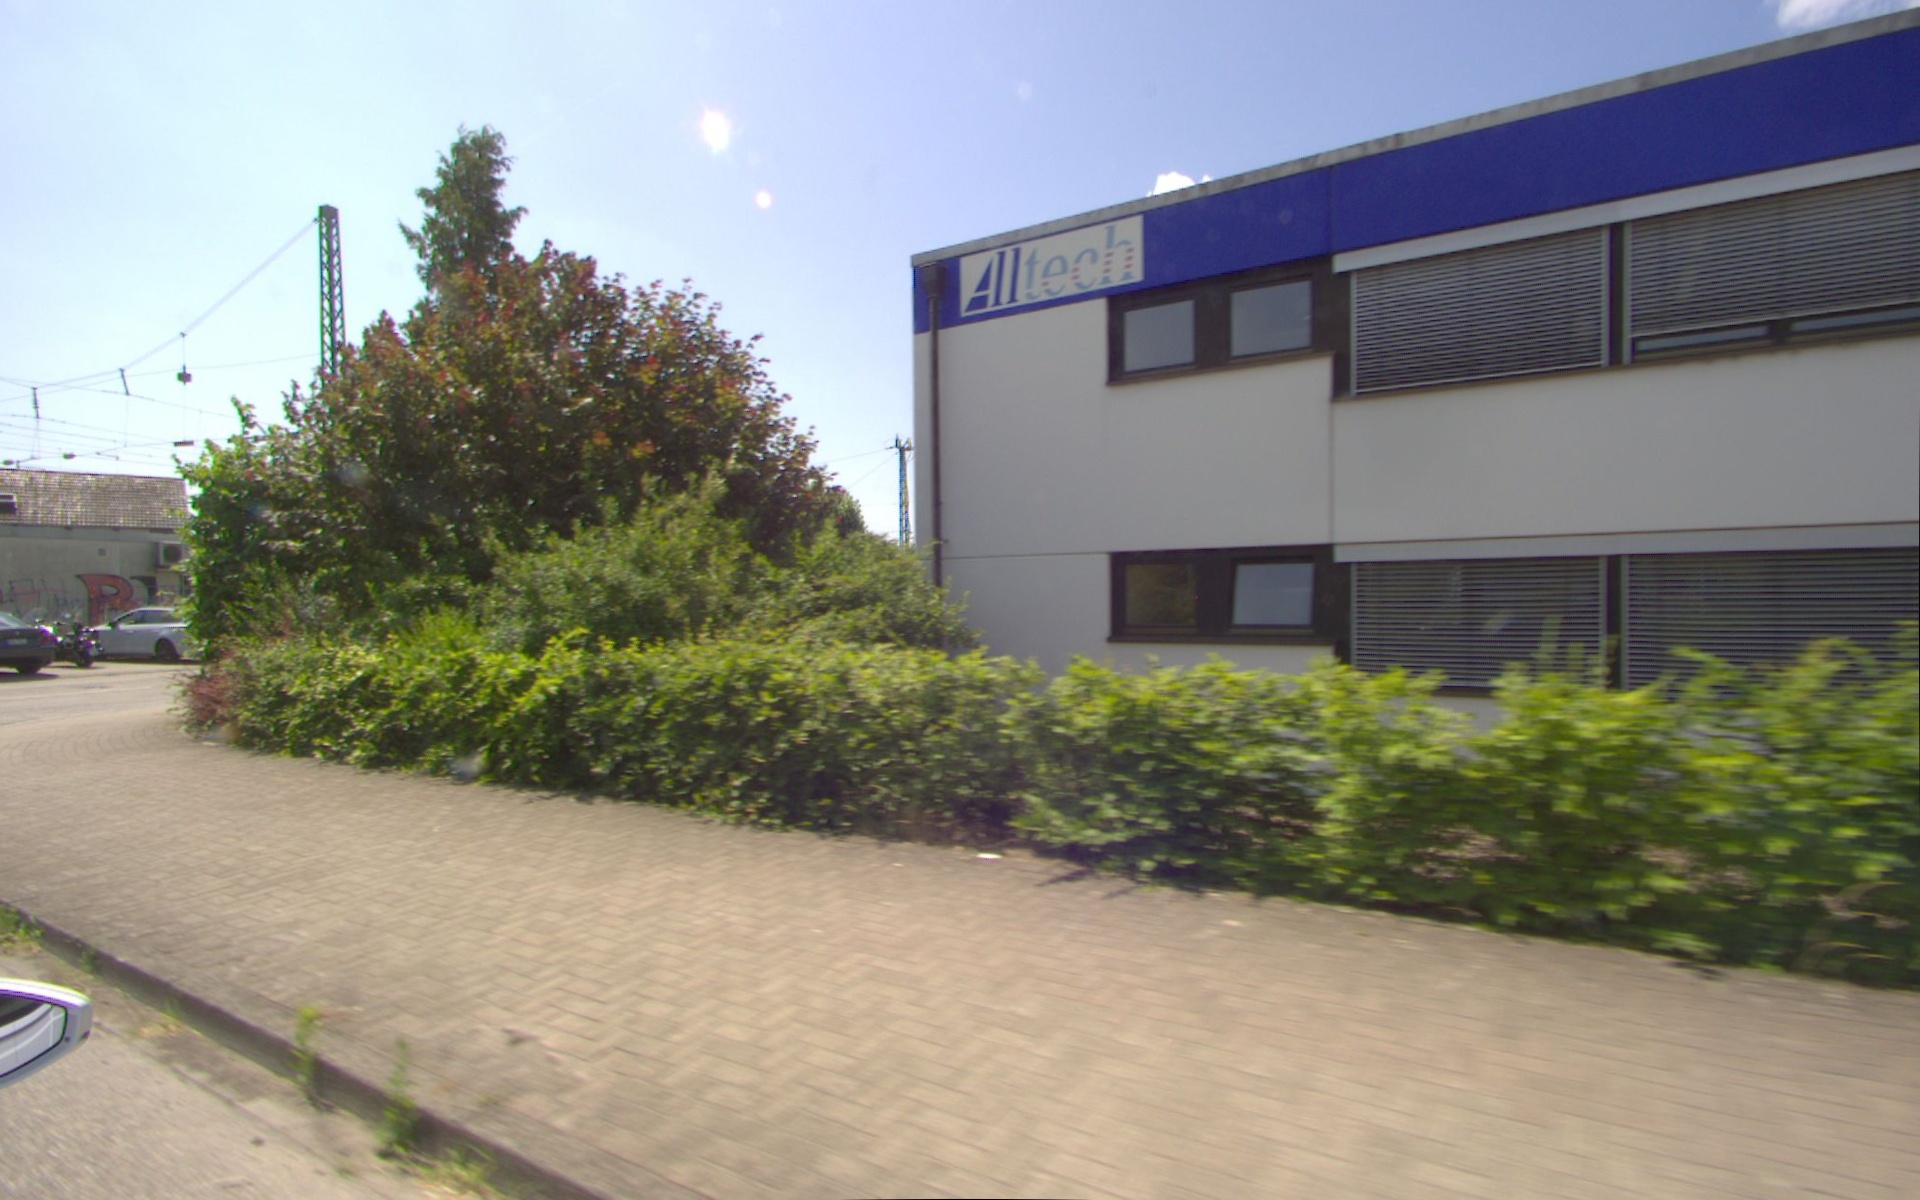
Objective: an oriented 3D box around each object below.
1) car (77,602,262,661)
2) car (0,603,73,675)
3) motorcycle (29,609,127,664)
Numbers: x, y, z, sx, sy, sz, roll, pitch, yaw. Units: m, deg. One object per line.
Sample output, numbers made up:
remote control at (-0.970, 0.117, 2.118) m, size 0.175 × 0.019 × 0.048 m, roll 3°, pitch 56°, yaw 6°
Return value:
car at (-20.888, 0.815, 26.504) m, size 4.037 × 1.395 × 1.707 m, roll 1°, pitch -1°, yaw 14°
car at (-21.781, 0.753, 21.749) m, size 3.925 × 1.404 × 1.757 m, roll 3°, pitch 0°, yaw 13°
motorcycle at (-21.427, 0.867, 24.326) m, size 1.959 × 1.245 × 0.898 m, roll 1°, pitch 1°, yaw 17°
